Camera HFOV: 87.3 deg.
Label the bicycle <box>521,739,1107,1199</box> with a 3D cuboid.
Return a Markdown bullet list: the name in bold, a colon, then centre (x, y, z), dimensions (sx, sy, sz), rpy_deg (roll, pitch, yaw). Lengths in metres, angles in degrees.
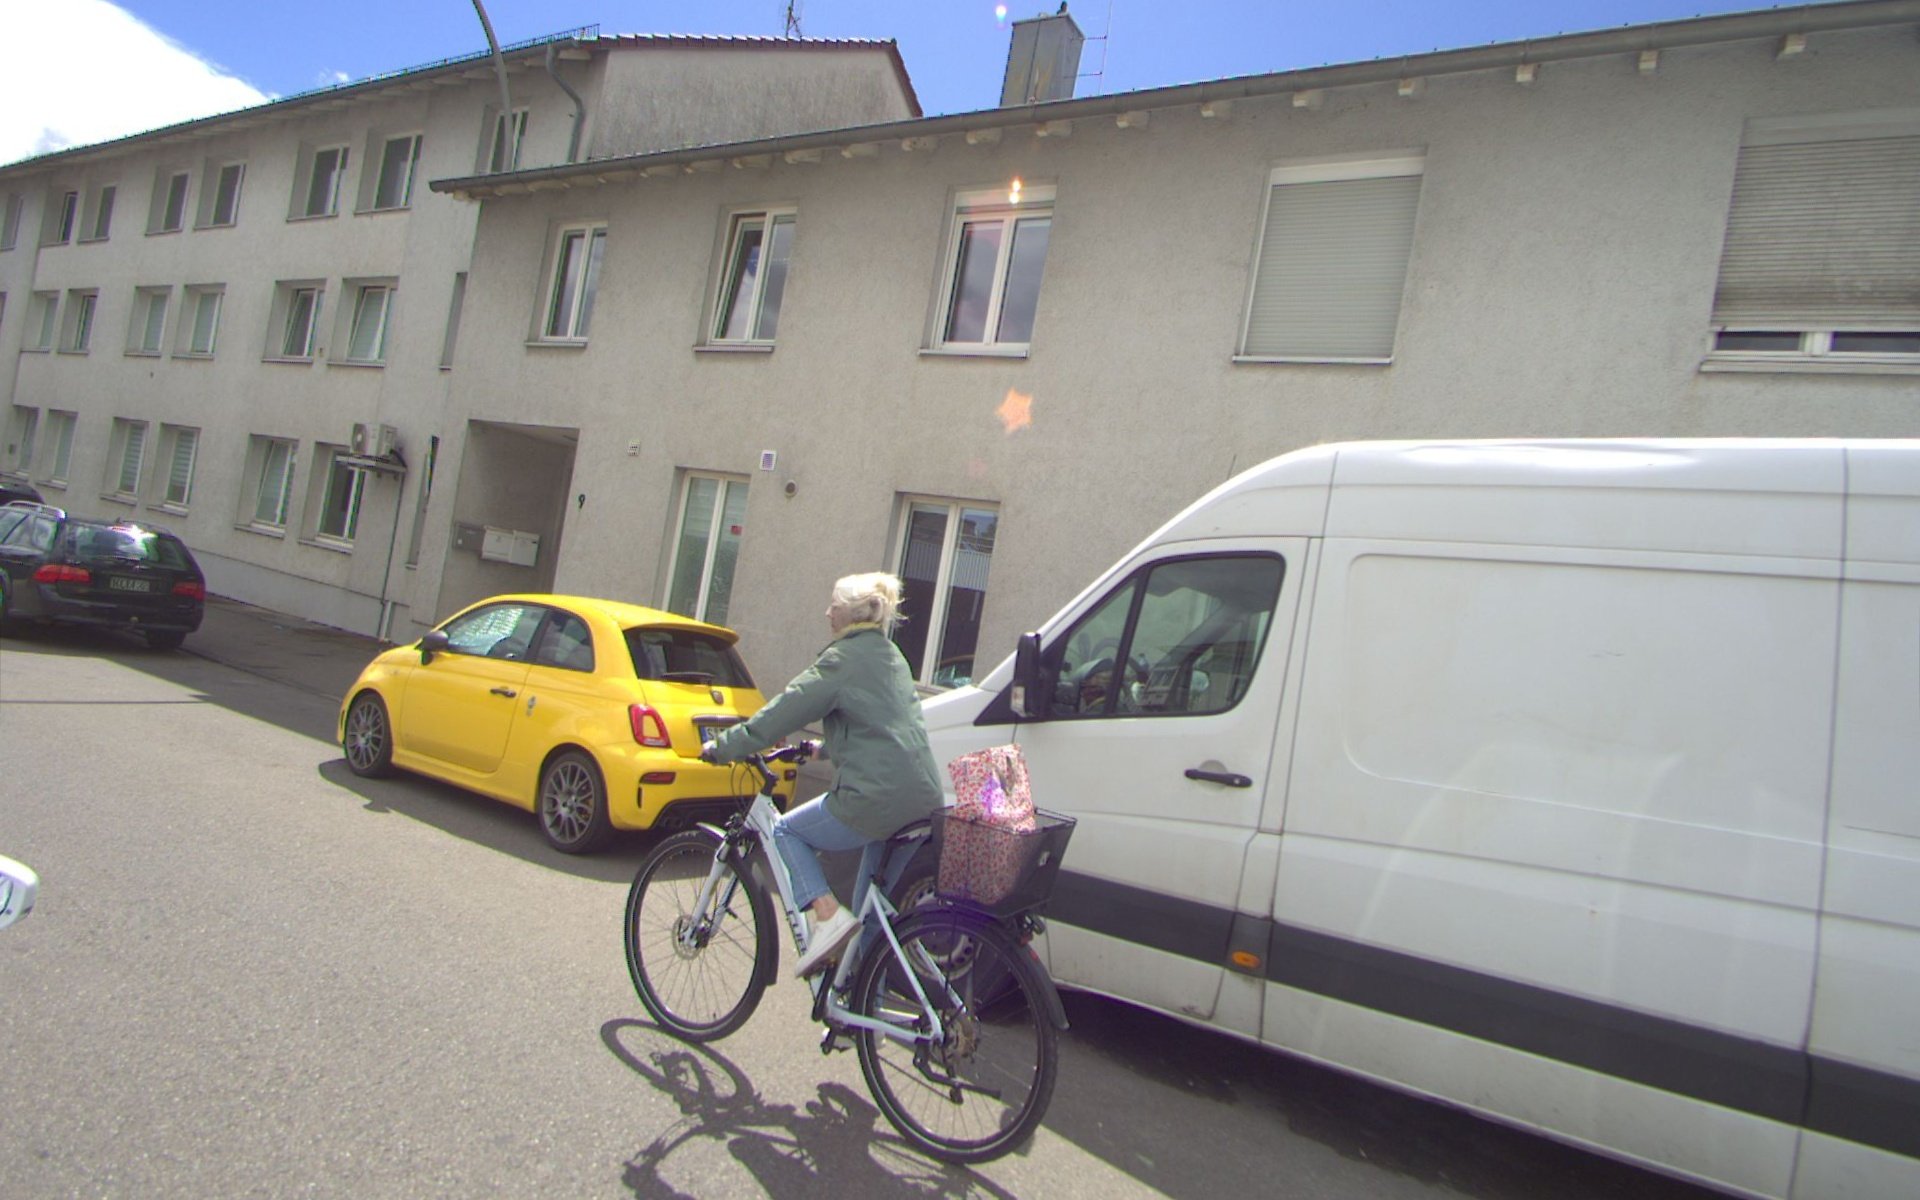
- **bicycle**: centre (-0.506, 1.106, 3.318), dimensions (1.702, 0.986, 0.742), rpy_deg (7, -1, 29)

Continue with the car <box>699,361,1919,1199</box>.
- **car**: centre (2.467, 0.712, 3.984), dimensions (7.160, 2.671, 2.038), rpy_deg (6, -2, 30)

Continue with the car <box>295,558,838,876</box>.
- **car**: centre (-2.908, 0.692, 7.227), dimensions (3.728, 1.464, 1.596), rpy_deg (7, -2, 32)

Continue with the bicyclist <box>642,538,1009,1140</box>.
- **bicyclist**: centre (-0.411, 0.689, 3.311), dimensions (0.719, 1.645, 0.741), rpy_deg (6, -2, 29)

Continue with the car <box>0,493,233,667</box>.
- **car**: centre (-11.258, -0.410, 12.393), dimensions (5.001, 1.526, 1.710), rpy_deg (9, -3, 30)

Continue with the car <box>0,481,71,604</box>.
- **car**: centre (-15.867, -1.189, 15.377), dimensions (4.712, 1.655, 1.683), rpy_deg (9, -3, 28)
